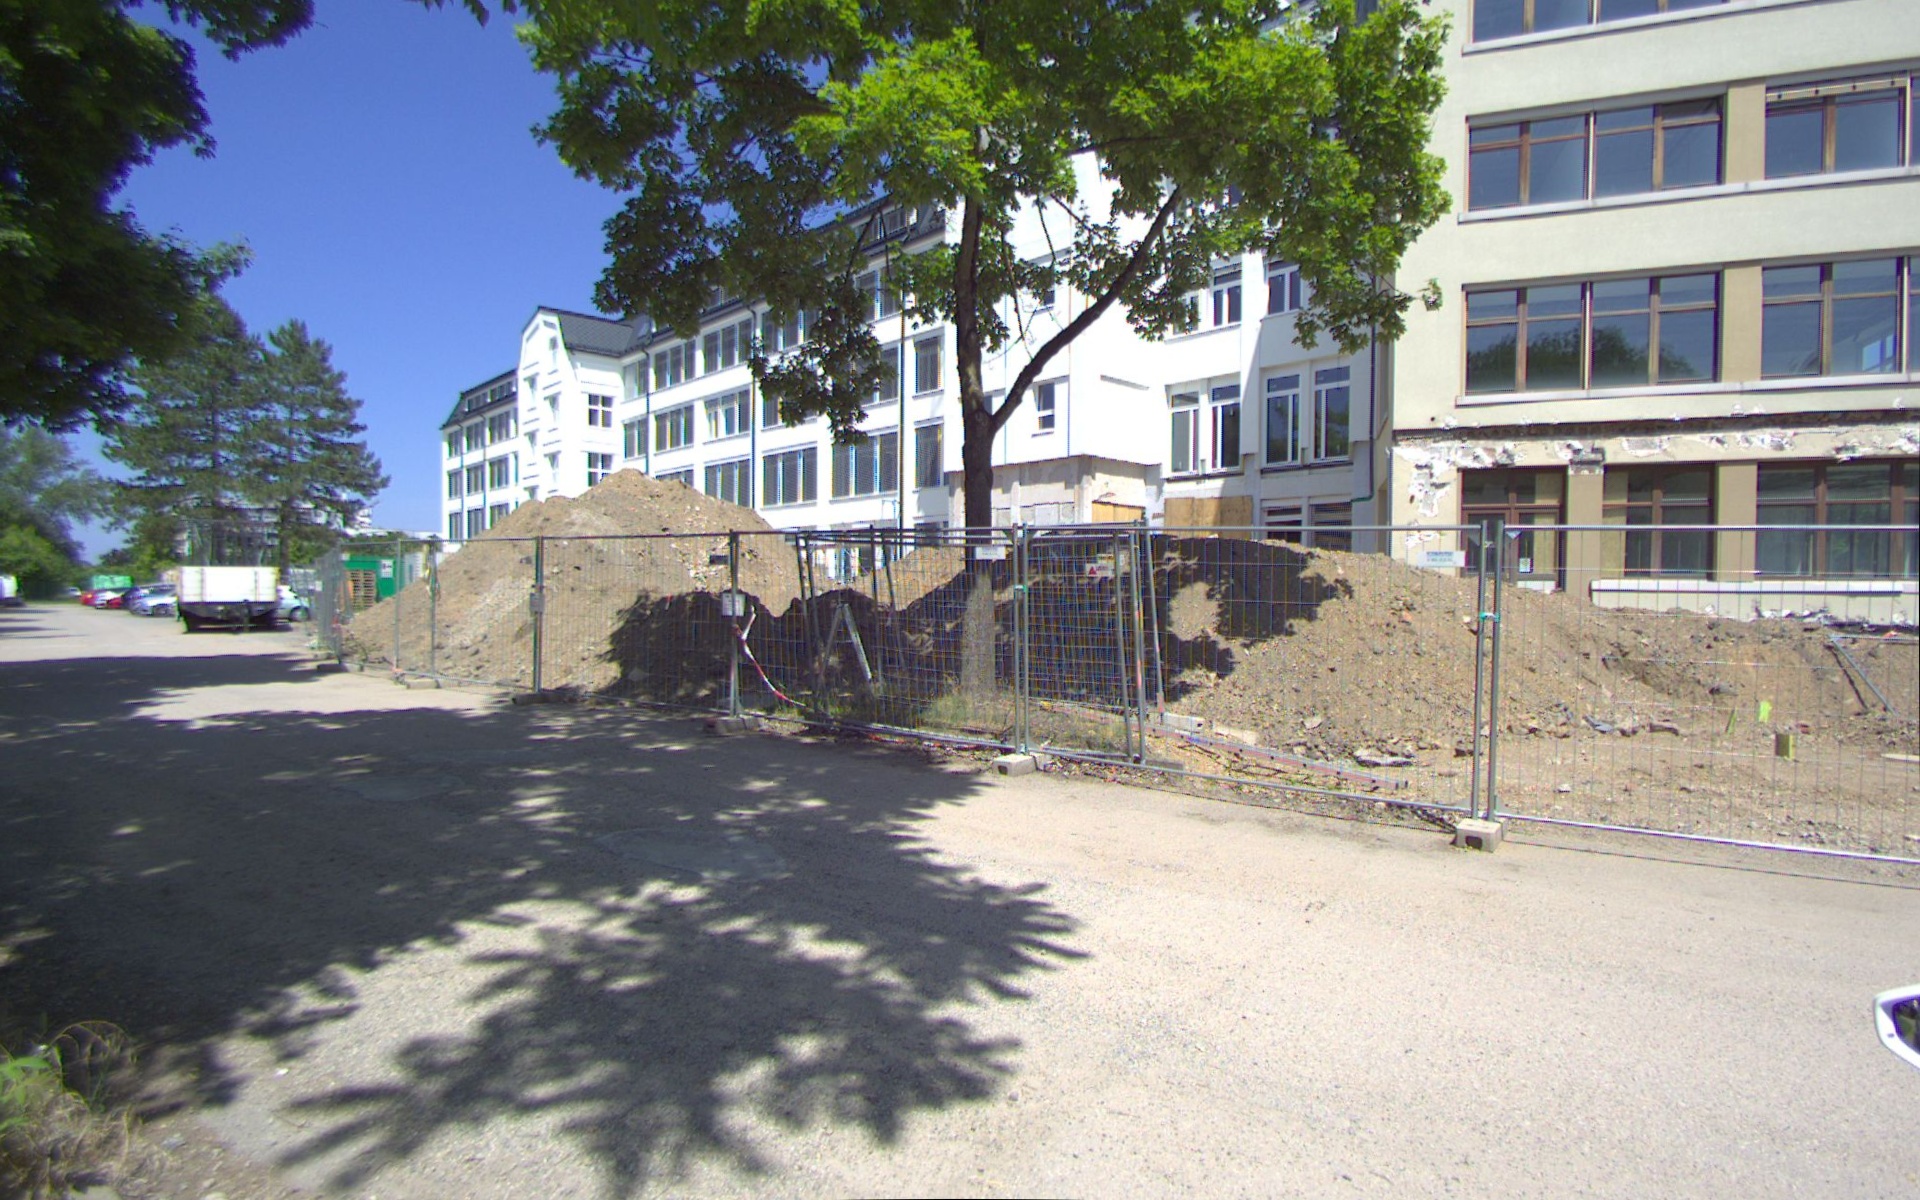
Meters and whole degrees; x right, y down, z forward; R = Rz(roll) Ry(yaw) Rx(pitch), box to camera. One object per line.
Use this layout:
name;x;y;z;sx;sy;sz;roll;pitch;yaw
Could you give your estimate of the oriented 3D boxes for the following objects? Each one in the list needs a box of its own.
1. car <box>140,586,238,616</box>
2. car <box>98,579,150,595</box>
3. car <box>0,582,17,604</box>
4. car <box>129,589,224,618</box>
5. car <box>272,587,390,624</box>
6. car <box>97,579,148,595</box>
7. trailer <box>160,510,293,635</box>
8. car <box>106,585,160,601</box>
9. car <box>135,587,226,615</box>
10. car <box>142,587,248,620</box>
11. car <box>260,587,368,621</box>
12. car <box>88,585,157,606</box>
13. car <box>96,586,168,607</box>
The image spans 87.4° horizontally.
car;-38.185;0.059;49.797;3.762;1.428;1.719;1;0;-42
car;-79.238;-1.191;95.237;3.762;1.428;1.719;1;0;-42
car;-78.780;-0.621;81.078;3.762;1.744;1.719;1;0;-42
car;-40.215;0.184;51.585;3.762;1.428;1.719;1;0;-42
car;-25.053;0.237;40.046;3.762;1.428;1.719;1;0;-42
car;-80.520;-1.202;96.605;3.762;1.428;1.719;1;0;-42
trailer;-23.455;-0.793;32.350;3.012;3.467;8.684;1;0;-35
car;-76.382;-0.631;92.770;3.762;1.428;1.719;1;0;-42
car;-41.785;0.063;53.862;3.762;1.428;1.719;1;0;-42
car;-35.042;0.153;46.065;3.762;1.428;1.719;1;0;-42
car;-28.223;0.175;43.957;3.762;1.428;1.719;1;0;-42
car;-60.800;-0.312;72.931;3.762;1.428;1.719;1;0;-42
car;-57.493;-0.234;69.784;3.762;1.428;1.719;1;0;-42
